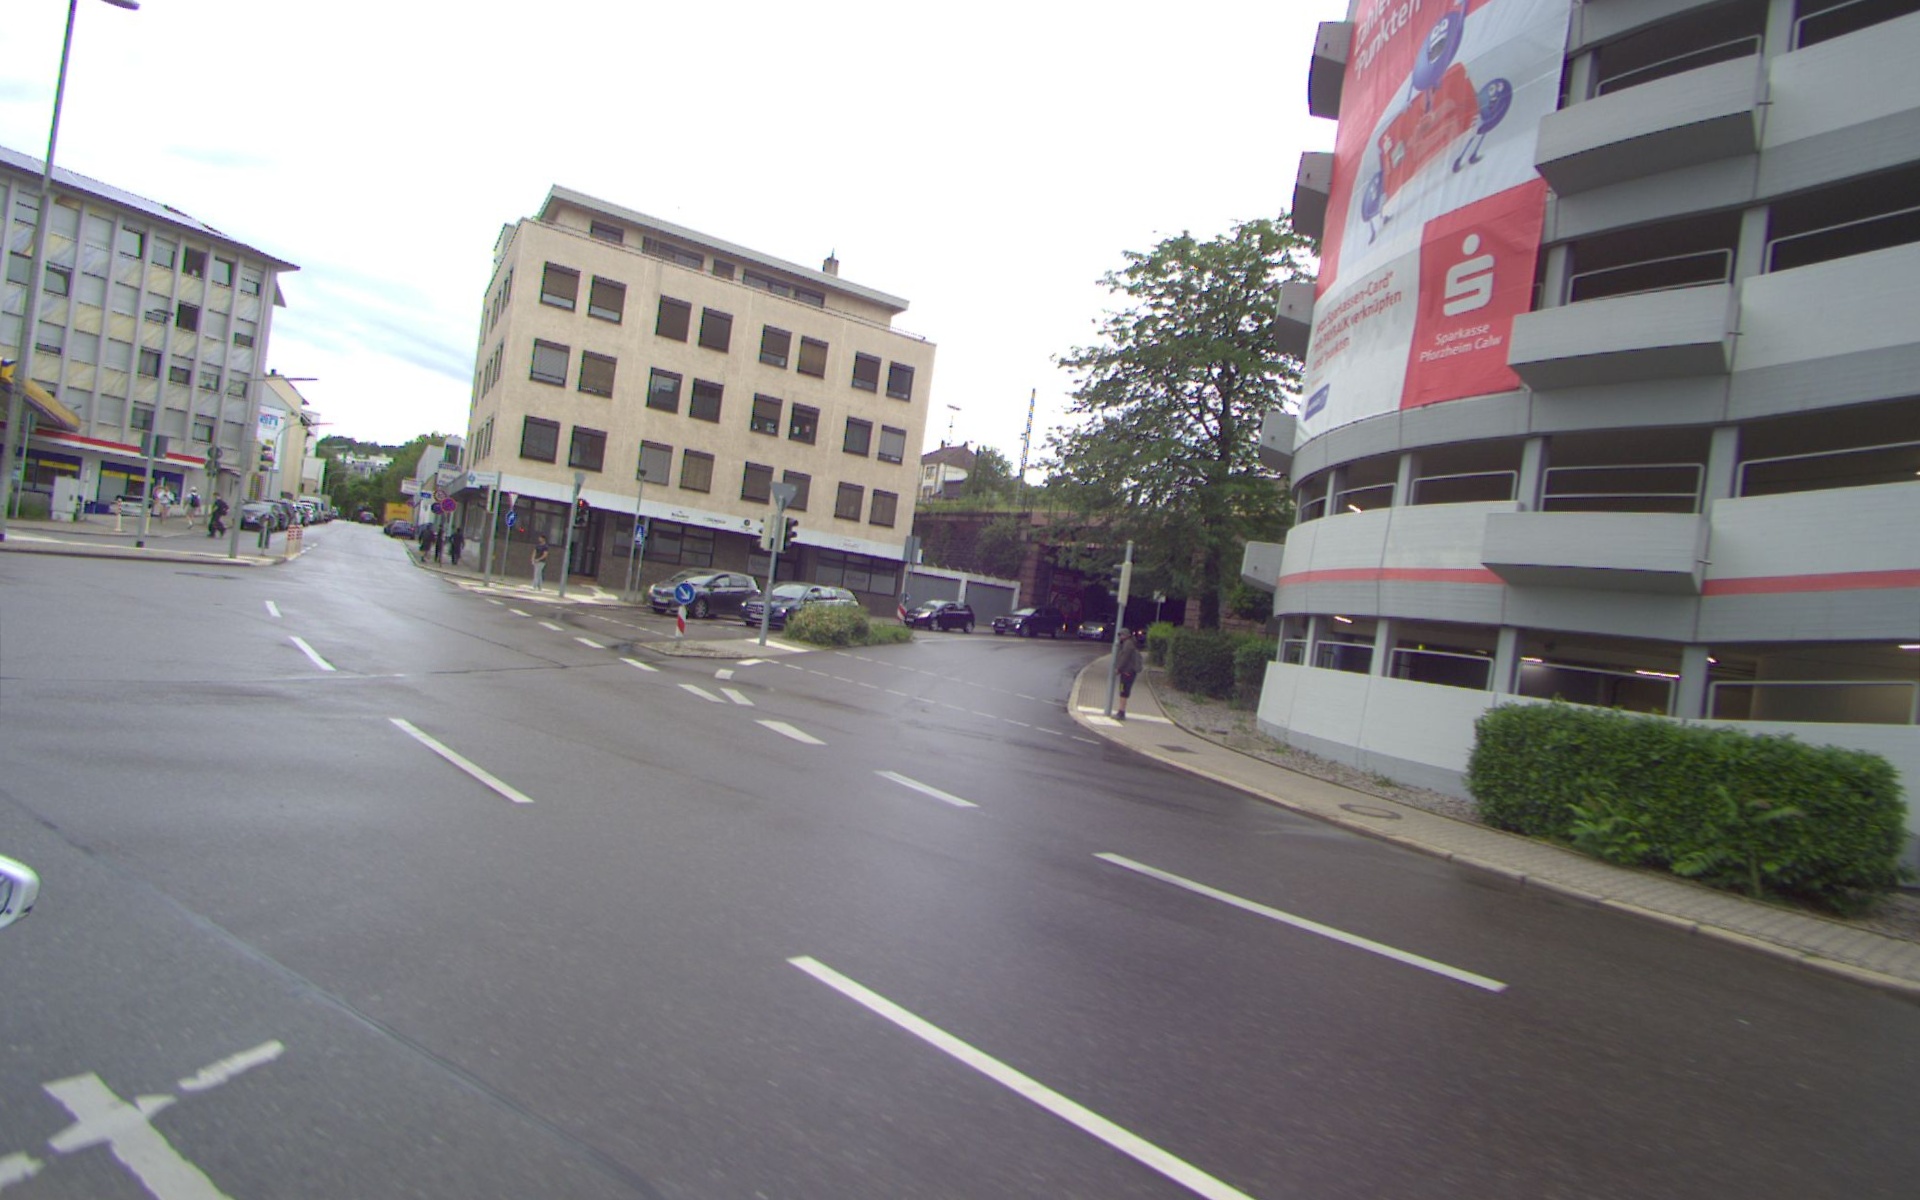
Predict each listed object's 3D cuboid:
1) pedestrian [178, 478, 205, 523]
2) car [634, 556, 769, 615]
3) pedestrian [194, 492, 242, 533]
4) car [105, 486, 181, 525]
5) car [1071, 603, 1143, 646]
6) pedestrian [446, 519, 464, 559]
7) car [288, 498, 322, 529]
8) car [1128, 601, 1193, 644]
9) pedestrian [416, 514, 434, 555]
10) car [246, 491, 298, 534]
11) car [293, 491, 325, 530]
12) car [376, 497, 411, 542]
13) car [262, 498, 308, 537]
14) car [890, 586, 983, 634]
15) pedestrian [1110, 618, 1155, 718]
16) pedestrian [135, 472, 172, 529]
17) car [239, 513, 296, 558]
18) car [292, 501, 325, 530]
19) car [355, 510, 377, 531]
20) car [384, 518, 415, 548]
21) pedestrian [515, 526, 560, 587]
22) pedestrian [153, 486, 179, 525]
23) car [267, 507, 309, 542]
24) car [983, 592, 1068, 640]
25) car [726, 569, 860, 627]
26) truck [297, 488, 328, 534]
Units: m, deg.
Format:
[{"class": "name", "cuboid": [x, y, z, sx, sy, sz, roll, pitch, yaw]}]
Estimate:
[{"class": "pedestrian", "cuboid": [-32.958, -4.247, 43.149, 0.674, 1.777, 0.724, 9, -2, -38]}, {"class": "car", "cuboid": [-8.384, -0.425, 33.105, 1.963, 1.462, 4.483, 7, 1, 21]}, {"class": "pedestrian", "cuboid": [-29.739, -3.502, 40.316, 1.095, 1.368, 0.916, 8, -2, -11]}, {"class": "car", "cuboid": [-44.395, -5.115, 54.785, 1.973, 1.534, 4.396, 6, -2, -23]}, {"class": "car", "cuboid": [8.467, 1.419, 57.728, 1.975, 1.802, 3.981, 6, -3, 45]}, {"class": "pedestrian", "cuboid": [-23.066, -2.795, 45.958, 0.475, 1.762, 0.570, 9, -2, -31]}, {"class": "car", "cuboid": [-52.181, -6.865, 80.210, 1.981, 1.885, 4.543, 9, -3, -32]}, {"class": "car", "cuboid": [12.395, 1.382, 62.087, 1.973, 2.036, 3.985, 6, -3, 42]}, {"class": "pedestrian", "cuboid": [-24.225, -2.965, 45.509, 0.475, 1.762, 0.570, 9, -2, -31]}, {"class": "car", "cuboid": [-38.758, -4.880, 56.794, 1.981, 1.885, 4.543, 9, -3, -32]}, {"class": "car", "cuboid": [-59.229, -8.103, 91.625, 1.981, 3.007, 4.543, 9, -2, -32]}, {"class": "car", "cuboid": [-54.424, -7.667, 96.577, 2.360, 3.729, 4.956, 9, -2, -30]}, {"class": "car", "cuboid": [-42.010, -5.092, 62.730, 1.981, 1.885, 4.543, 9, -3, -32]}, {"class": "car", "cuboid": [-1.081, 0.492, 47.705, 1.975, 1.602, 3.981, 6, -3, 45]}, {"class": "pedestrian", "cuboid": [3.486, 1.368, 20.348, 0.499, 1.915, 0.543, 6, 3, -11]}, {"class": "pedestrian", "cuboid": [-40.105, -4.933, 50.007, 1.134, 2.596, 1.004, 6, -2, 44]}, {"class": "car", "cuboid": [-36.161, -3.319, 52.632, 1.981, 1.885, 4.543, 9, -3, -32]}, {"class": "car", "cuboid": [-55.155, -7.125, 85.194, 1.981, 1.885, 4.543, 9, -3, -32]}, {"class": "car", "cuboid": [-72.922, -9.735, 123.551, 1.979, 2.036, 3.971, 9, -3, -29]}, {"class": "car", "cuboid": [-47.171, -5.626, 84.712, 1.979, 2.036, 3.971, 9, -3, -29]}, {"class": "pedestrian", "cuboid": [-13.960, -1.430, 33.219, 0.761, 1.811, 0.859, 7, -2, 25]}, {"class": "pedestrian", "cuboid": [-33.597, -3.978, 42.558, 0.472, 1.532, 0.574, 8, -1, -11]}, {"class": "car", "cuboid": [-45.482, -5.054, 68.202, 1.981, 1.885, 4.543, 9, -3, -32]}, {"class": "car", "cuboid": [3.396, 0.856, 51.809, 1.975, 1.802, 4.144, 6, -3, 45]}, {"class": "car", "cuboid": [-5.317, -0.012, 32.716, 1.964, 1.462, 4.479, 8, 1, 26]}, {"class": "truck", "cuboid": [-62.948, -8.581, 97.858, 1.981, 3.958, 5.441, 9, -2, -31]}]
